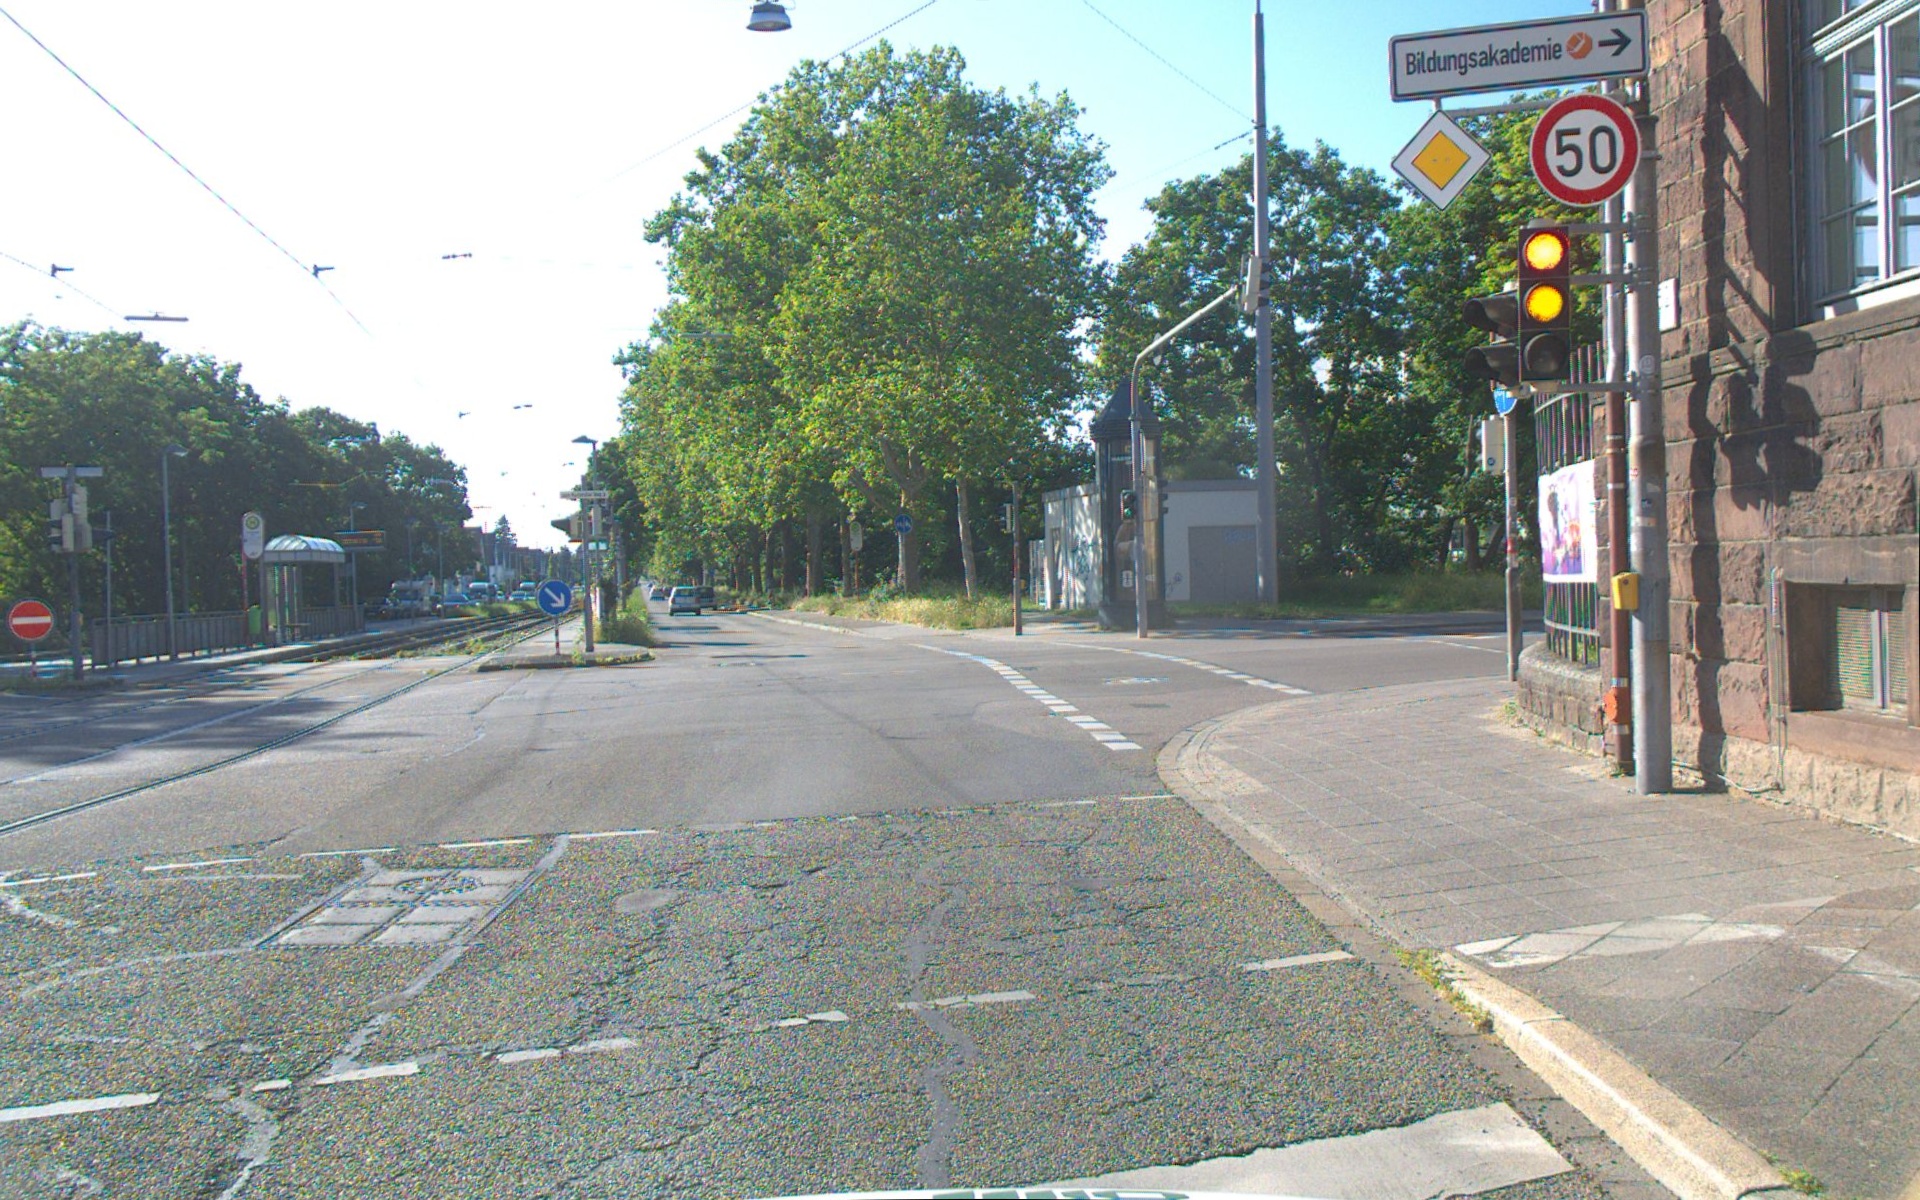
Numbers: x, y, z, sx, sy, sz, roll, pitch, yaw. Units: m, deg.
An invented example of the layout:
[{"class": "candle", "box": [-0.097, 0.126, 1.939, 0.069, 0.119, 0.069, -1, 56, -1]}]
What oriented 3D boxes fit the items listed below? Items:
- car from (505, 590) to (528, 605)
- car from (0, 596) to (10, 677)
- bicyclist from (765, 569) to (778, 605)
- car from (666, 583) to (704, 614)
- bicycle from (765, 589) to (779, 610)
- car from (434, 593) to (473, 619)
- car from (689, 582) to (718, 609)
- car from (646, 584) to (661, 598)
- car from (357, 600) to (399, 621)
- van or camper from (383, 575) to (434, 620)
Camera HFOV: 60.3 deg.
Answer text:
[{"class": "car", "box": [-45.515, -0.244, 169.773, 1.959, 1.495, 4.363, -2, 1, -12]}, {"class": "car", "box": [-21.861, 0.838, 34.545, 1.959, 1.797, 5.016, -2, 0, -12]}, {"class": "bicyclist", "box": [-9.731, -0.677, 85.402, 0.525, 1.800, 0.710, -2, 1, -13]}, {"class": "car", "box": [-14.212, -0.085, 85.236, 1.834, 1.512, 3.546, -1, 0, -11]}, {"class": "bicycle", "box": [-9.696, -0.033, 85.360, 0.527, 1.085, 1.429, -2, 1, -13]}, {"class": "car", "box": [-33.521, 0.367, 109.588, 1.885, 1.594, 3.991, -2, 1, -9]}, {"class": "car", "box": [-16.424, -0.311, 105.823, 1.719, 1.632, 3.740, -1, 1, -11]}, {"class": "car", "box": [-36.652, -1.112, 197.786, 1.720, 1.632, 3.570, -2, 1, -12]}, {"class": "car", "box": [-38.654, 0.687, 109.967, 1.885, 1.288, 3.991, -2, 1, -9]}, {"class": "van or camper", "box": [-40.794, -0.227, 122.522, 2.544, 3.160, 6.770, -2, 1, -11]}]
